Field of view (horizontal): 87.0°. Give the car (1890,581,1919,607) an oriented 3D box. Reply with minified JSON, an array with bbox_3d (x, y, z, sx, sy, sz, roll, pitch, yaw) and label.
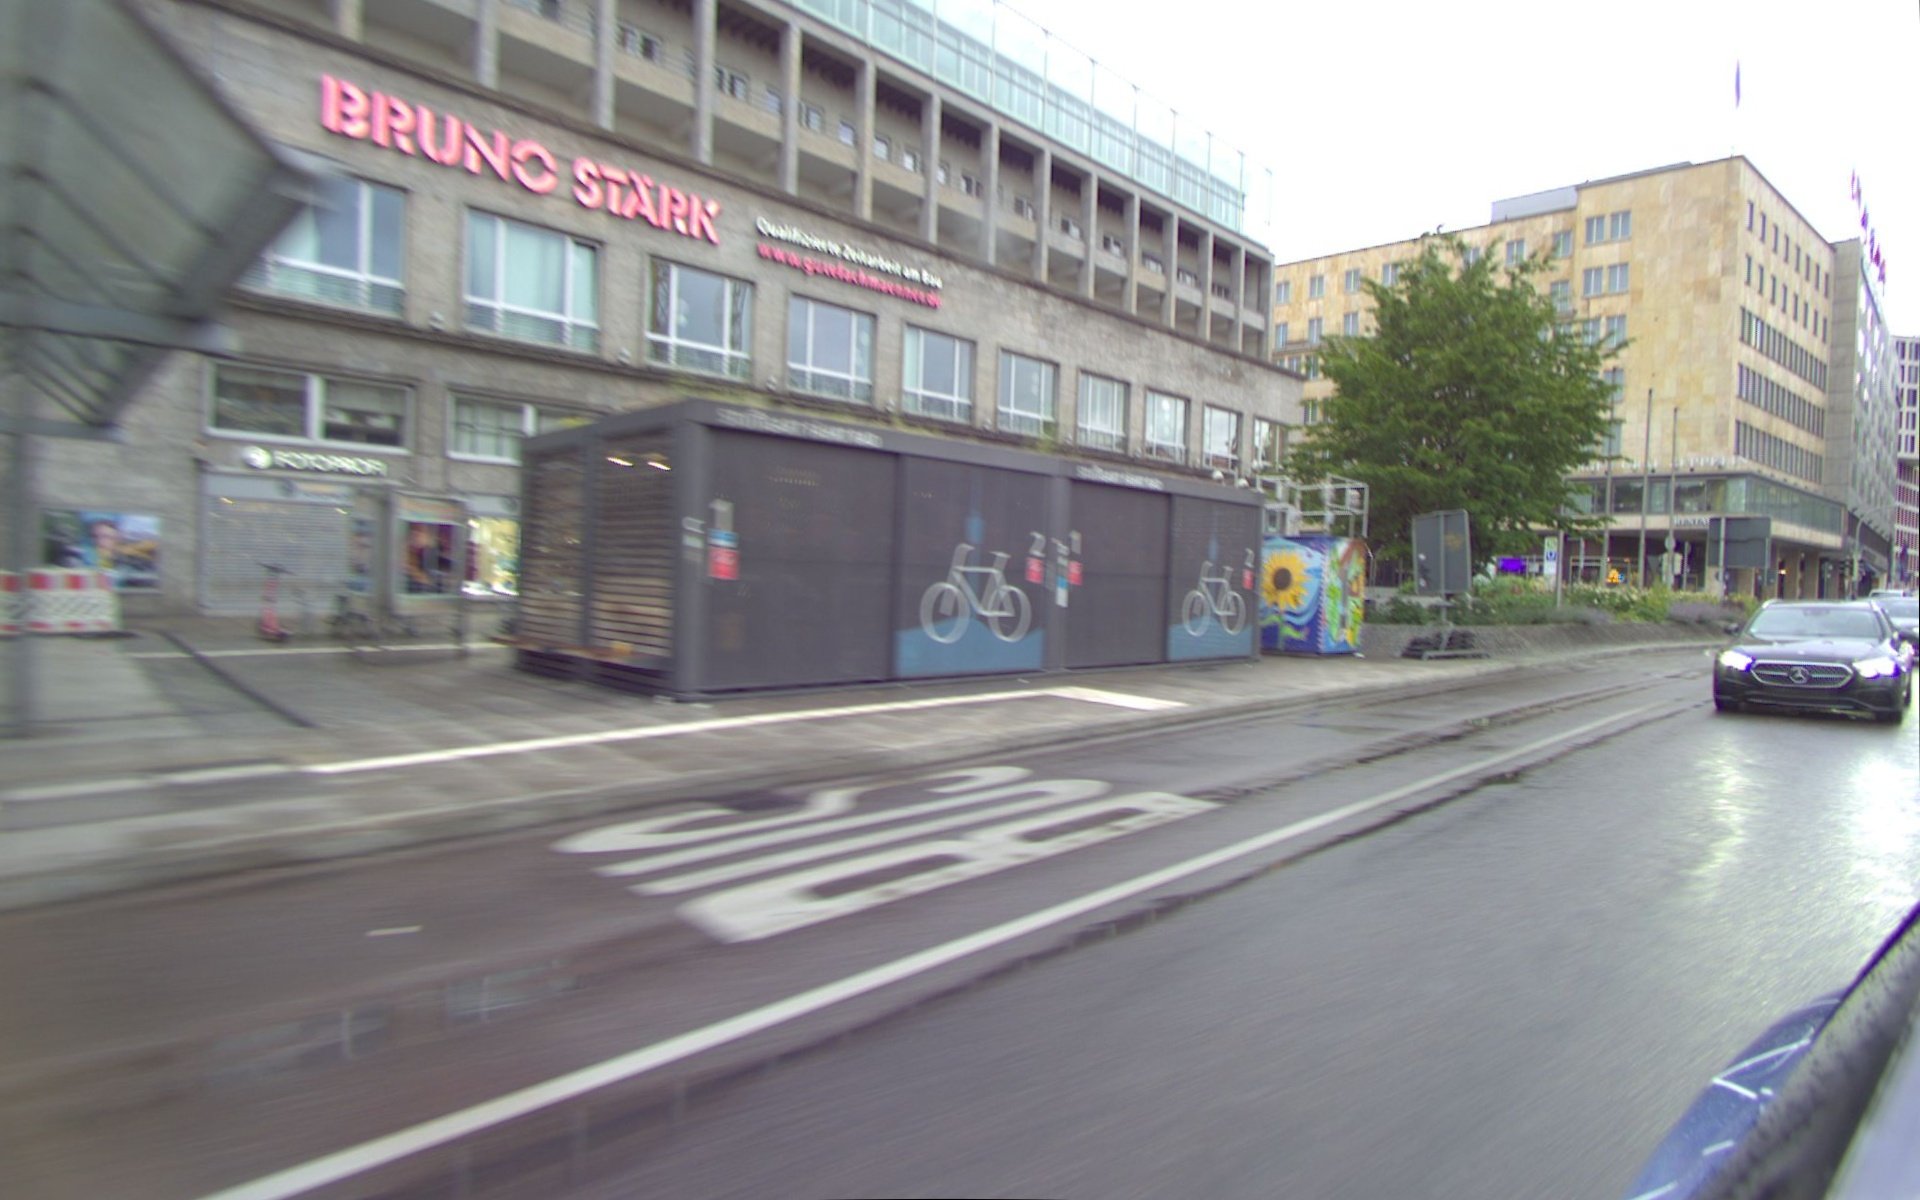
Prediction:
[{"bbox_3d":[64.160,-0.402,68.075,5.050,1.674,1.996,-1,2,-44],"label":"car"}]

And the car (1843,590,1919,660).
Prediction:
[{"bbox_3d":[22.628,0.547,24.223,4.095,1.526,1.874,-1,2,-44],"label":"car"}]

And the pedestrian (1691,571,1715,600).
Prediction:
[{"bbox_3d":[49.533,-0.992,67.467,1.090,1.869,1.000,-1,3,-41],"label":"pedestrian"}]

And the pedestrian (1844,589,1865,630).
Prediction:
[{"bbox_3d":[42.634,0.445,48.232,0.779,1.943,0.673,0,1,-43],"label":"pedestrian"}]

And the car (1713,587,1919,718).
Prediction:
[{"bbox_3d":[11.908,0.570,13.871,4.622,1.482,1.820,-1,1,-44],"label":"car"}]

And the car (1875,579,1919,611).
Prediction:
[{"bbox_3d":[59.562,-0.333,64.096,4.914,1.908,1.996,-1,2,-44],"label":"car"}]

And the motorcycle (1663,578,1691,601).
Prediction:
[{"bbox_3d":[48.148,-0.706,67.948,2.803,1.471,0.963,-1,2,-44],"label":"motorcycle"}]

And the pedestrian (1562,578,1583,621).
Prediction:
[{"bbox_3d":[25.877,-0.028,42.757,0.669,1.812,0.536,0,1,-41],"label":"pedestrian"}]

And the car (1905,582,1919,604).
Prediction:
[{"bbox_3d":[72.708,-0.517,76.227,4.795,1.629,1.996,-1,2,-44],"label":"car"}]

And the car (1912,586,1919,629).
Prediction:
[{"bbox_3d":[37.781,0.287,38.553,3.844,1.577,1.996,-1,2,-44],"label":"car"}]

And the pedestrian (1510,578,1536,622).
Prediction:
[{"bbox_3d":[23.048,0.009,41.415,0.697,1.773,0.824,2,1,44],"label":"pedestrian"}]
